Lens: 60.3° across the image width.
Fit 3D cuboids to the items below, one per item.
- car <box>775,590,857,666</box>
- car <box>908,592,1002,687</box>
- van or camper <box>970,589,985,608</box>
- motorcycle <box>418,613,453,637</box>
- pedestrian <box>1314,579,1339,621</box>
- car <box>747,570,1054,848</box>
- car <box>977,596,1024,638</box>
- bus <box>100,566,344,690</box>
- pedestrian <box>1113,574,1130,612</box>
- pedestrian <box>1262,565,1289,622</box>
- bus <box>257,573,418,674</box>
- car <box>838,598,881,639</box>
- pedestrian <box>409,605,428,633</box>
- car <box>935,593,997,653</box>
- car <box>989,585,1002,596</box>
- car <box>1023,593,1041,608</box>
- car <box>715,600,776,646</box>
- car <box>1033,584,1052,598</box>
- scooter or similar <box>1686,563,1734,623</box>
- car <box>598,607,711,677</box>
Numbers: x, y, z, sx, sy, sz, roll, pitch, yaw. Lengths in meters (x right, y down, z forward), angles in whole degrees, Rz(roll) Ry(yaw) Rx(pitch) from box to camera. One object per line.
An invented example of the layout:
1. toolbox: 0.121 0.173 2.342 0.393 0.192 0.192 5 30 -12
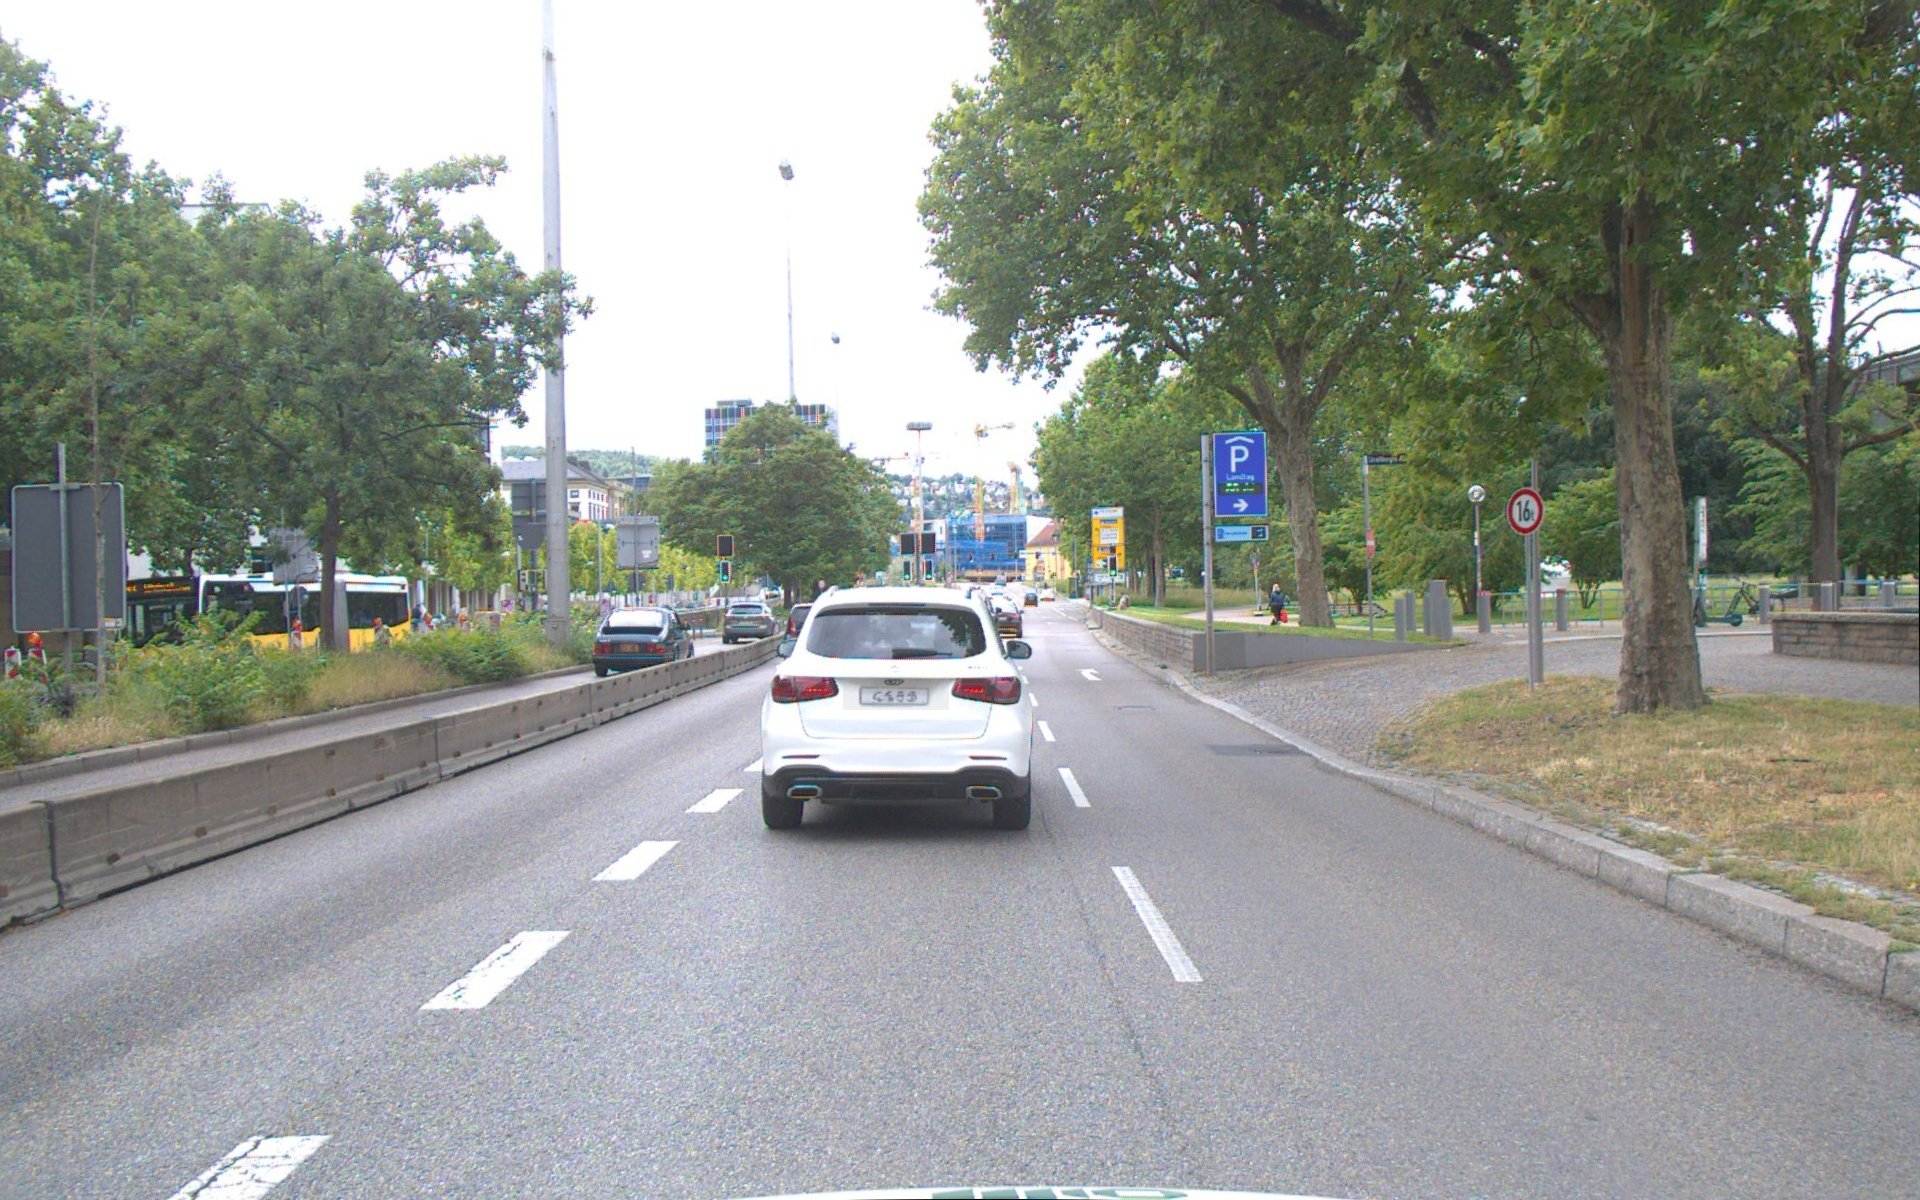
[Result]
1. car: -3.414 0.643 39.915 1.684 1.708 3.999 1 0 -1
2. car: -0.046 0.741 31.383 1.638 1.656 4.000 1 -1 1
3. van or camper: 2.200 -0.214 212.461 1.883 2.360 3.999 0 -2 0
4. motorcycle: -30.211 1.438 95.232 1.859 1.255 0.654 -2 -2 -25
5. pedestrian: 13.653 -0.009 61.596 0.770 1.553 0.683 1 -1 1
6. car: -0.413 0.708 12.380 1.901 1.713 3.999 1 -1 -1
7. car: 1.605 0.656 66.955 1.684 1.612 3.999 1 0 -1
8. bus: -22.373 0.791 51.024 2.853 3.363 10.448 -1 0 -1
9. pedestrian: 7.387 -0.321 75.503 0.683 1.685 0.684 1 -1 0
10. pedestrian: 11.604 -0.244 60.855 0.838 2.049 0.815 1 -2 -2
11. bus: -22.449 0.807 60.140 2.863 3.361 7.706 -1 0 0
12. car: -4.082 0.722 67.482 1.684 1.612 3.998 1 0 -3
13. pedestrian: -31.932 1.118 97.596 0.875 1.584 0.589 -1 0 -42
14. car: 0.135 0.635 47.896 1.684 1.612 3.999 1 0 -1
15. car: 5.212 -1.349 245.118 1.684 1.612 3.999 1 0 -1
16. car: 7.916 0.065 182.890 1.684 1.612 3.999 1 0 -1
17. car: -7.769 0.796 60.240 1.717 1.580 3.999 1 0 -1
18. car: 10.746 -1.187 215.161 1.954 1.646 3.996 1 -1 -4
19. scooter or similar: 16.325 -0.145 36.033 0.701 1.268 0.728 1 -1 -1
20. car: -6.335 0.838 34.649 1.684 1.315 3.999 1 0 -1
